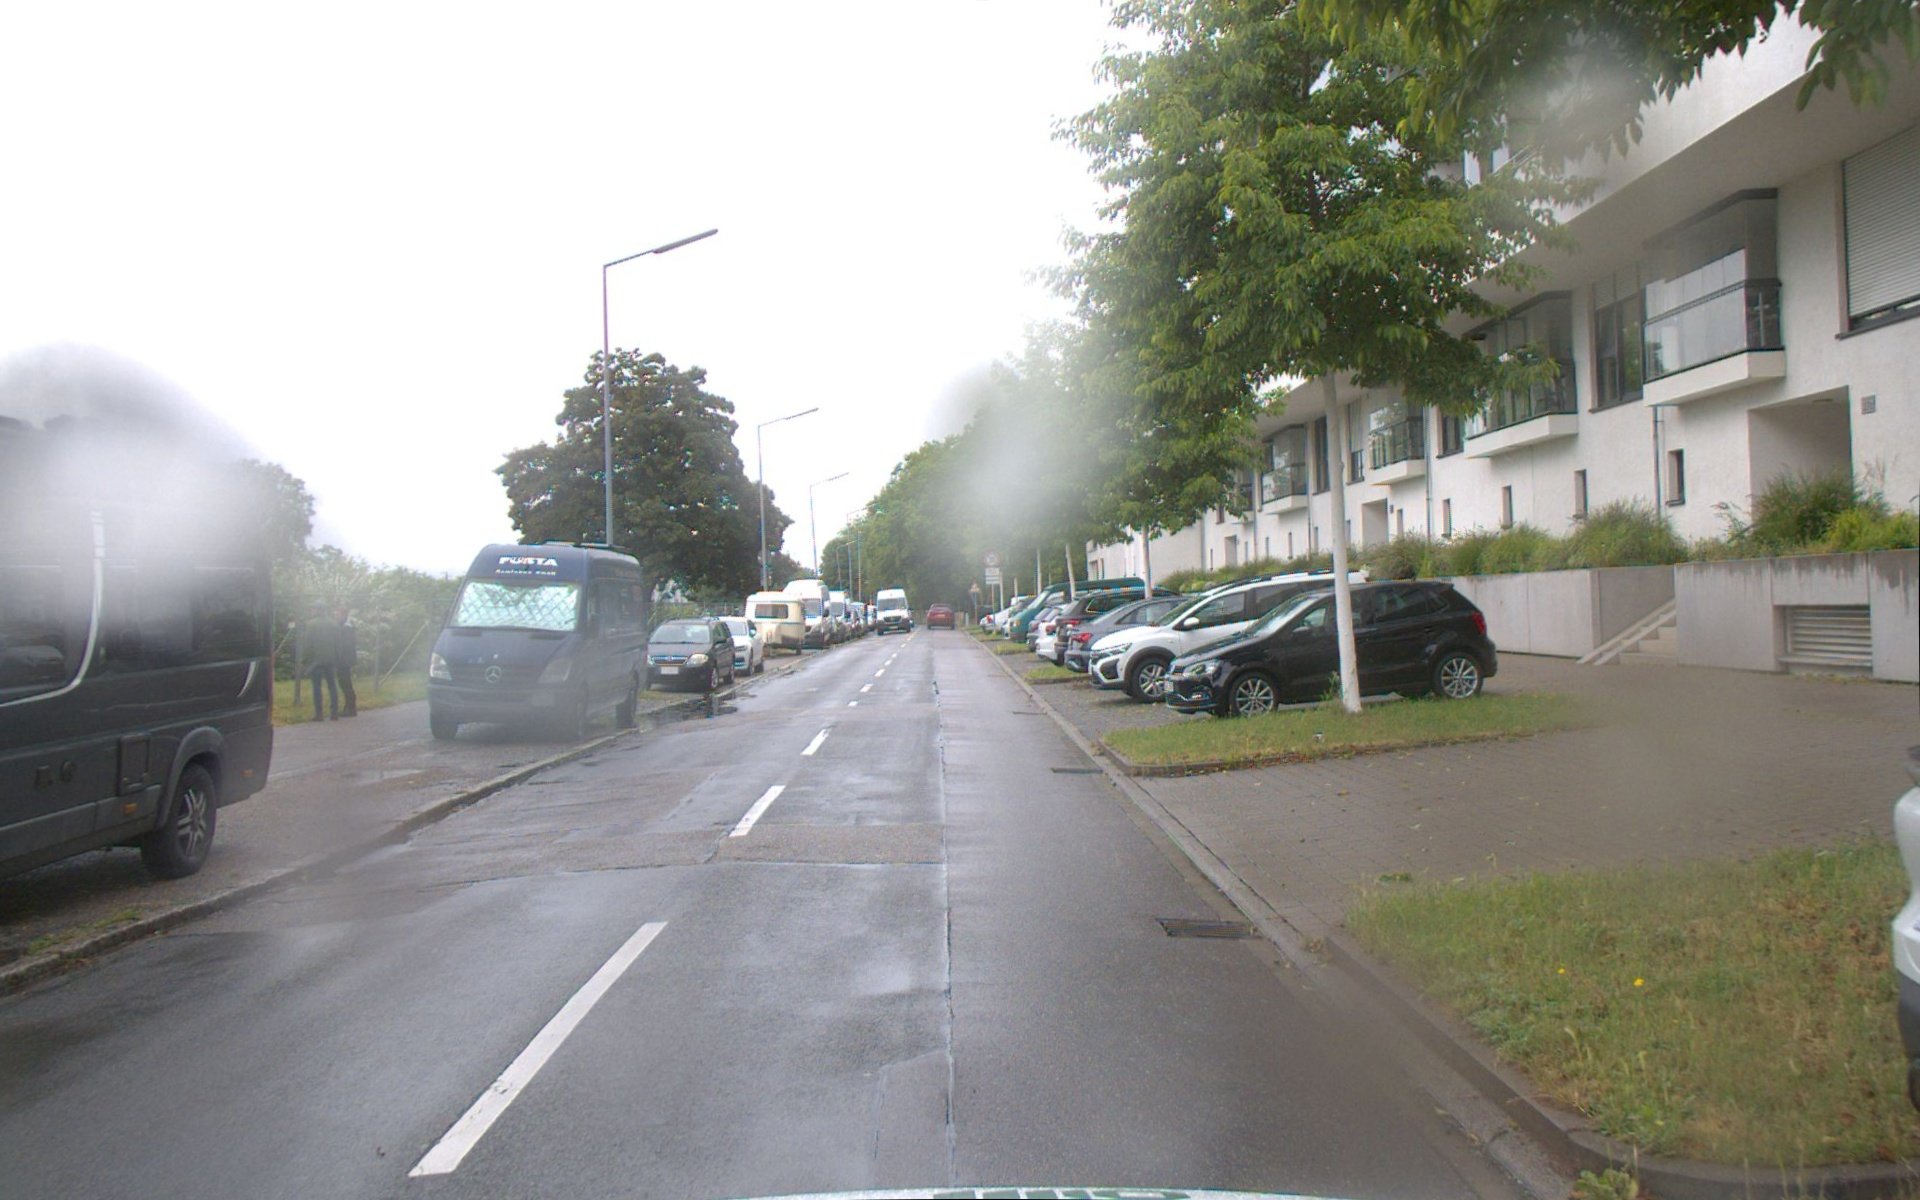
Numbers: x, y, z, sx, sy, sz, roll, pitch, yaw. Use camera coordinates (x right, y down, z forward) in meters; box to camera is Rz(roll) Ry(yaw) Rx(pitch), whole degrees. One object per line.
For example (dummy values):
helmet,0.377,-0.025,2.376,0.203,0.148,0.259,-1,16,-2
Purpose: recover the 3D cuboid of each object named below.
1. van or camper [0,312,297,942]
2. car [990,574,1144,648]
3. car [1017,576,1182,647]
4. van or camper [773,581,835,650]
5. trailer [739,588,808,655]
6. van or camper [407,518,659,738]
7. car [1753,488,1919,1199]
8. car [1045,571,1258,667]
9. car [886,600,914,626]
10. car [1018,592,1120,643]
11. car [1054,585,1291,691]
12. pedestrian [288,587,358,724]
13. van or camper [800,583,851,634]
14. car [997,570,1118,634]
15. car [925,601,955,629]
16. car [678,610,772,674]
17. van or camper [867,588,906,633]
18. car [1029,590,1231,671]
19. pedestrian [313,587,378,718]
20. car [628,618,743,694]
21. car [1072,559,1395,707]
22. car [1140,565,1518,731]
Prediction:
van or camper,-5.853,0.143,8.997,2.052,3.148,6.421,0,-1,-2
car,3.336,0.344,51.866,4.528,2.055,1.856,-3,0,-5
car,3.569,0.293,42.618,3.952,1.525,1.630,-4,0,-4
van or camper,-6.624,0.658,71.188,1.953,2.810,7.897,-1,0,0
trailer,-6.602,0.730,59.068,2.017,2.256,5.792,-1,0,-2
van or camper,-6.060,0.406,24.594,2.052,2.763,7.570,0,-1,-2
car,4.148,0.348,2.940,4.453,1.713,1.884,-7,0,-4
car,3.962,0.383,34.642,4.080,1.652,1.896,-4,0,-4
car,-4.378,0.960,121.605,1.843,1.788,4.068,-2,0,0
car,3.597,0.570,54.753,3.189,1.508,1.317,-2,0,-3
car,3.729,0.653,29.451,3.907,1.536,1.684,-4,1,-1
pedestrian,-9.742,0.832,25.305,0.722,2.049,0.900,-1,-1,-2
van or camper,-6.895,0.426,85.323,2.144,2.505,6.376,-1,0,0
car,3.359,0.076,57.319,4.010,1.927,1.726,-3,0,0
car,-1.337,0.991,108.743,1.721,1.735,3.998,-3,-1,-3
car,-6.049,1.052,43.046,1.849,1.552,5.108,0,0,-2
van or camper,-4.435,0.648,100.782,1.953,2.540,7.177,-3,0,0
car,3.762,0.662,36.939,4.214,1.453,1.636,-4,0,-3
pedestrian,-9.770,0.823,26.317,0.705,2.049,0.853,-1,-1,-2
car,-5.974,1.173,36.481,1.737,1.529,4.827,0,0,0
car,4.050,0.474,24.971,4.388,1.715,1.935,-6,0,-3
car,4.302,0.535,19.687,3.910,1.521,1.935,-5,0,-5
